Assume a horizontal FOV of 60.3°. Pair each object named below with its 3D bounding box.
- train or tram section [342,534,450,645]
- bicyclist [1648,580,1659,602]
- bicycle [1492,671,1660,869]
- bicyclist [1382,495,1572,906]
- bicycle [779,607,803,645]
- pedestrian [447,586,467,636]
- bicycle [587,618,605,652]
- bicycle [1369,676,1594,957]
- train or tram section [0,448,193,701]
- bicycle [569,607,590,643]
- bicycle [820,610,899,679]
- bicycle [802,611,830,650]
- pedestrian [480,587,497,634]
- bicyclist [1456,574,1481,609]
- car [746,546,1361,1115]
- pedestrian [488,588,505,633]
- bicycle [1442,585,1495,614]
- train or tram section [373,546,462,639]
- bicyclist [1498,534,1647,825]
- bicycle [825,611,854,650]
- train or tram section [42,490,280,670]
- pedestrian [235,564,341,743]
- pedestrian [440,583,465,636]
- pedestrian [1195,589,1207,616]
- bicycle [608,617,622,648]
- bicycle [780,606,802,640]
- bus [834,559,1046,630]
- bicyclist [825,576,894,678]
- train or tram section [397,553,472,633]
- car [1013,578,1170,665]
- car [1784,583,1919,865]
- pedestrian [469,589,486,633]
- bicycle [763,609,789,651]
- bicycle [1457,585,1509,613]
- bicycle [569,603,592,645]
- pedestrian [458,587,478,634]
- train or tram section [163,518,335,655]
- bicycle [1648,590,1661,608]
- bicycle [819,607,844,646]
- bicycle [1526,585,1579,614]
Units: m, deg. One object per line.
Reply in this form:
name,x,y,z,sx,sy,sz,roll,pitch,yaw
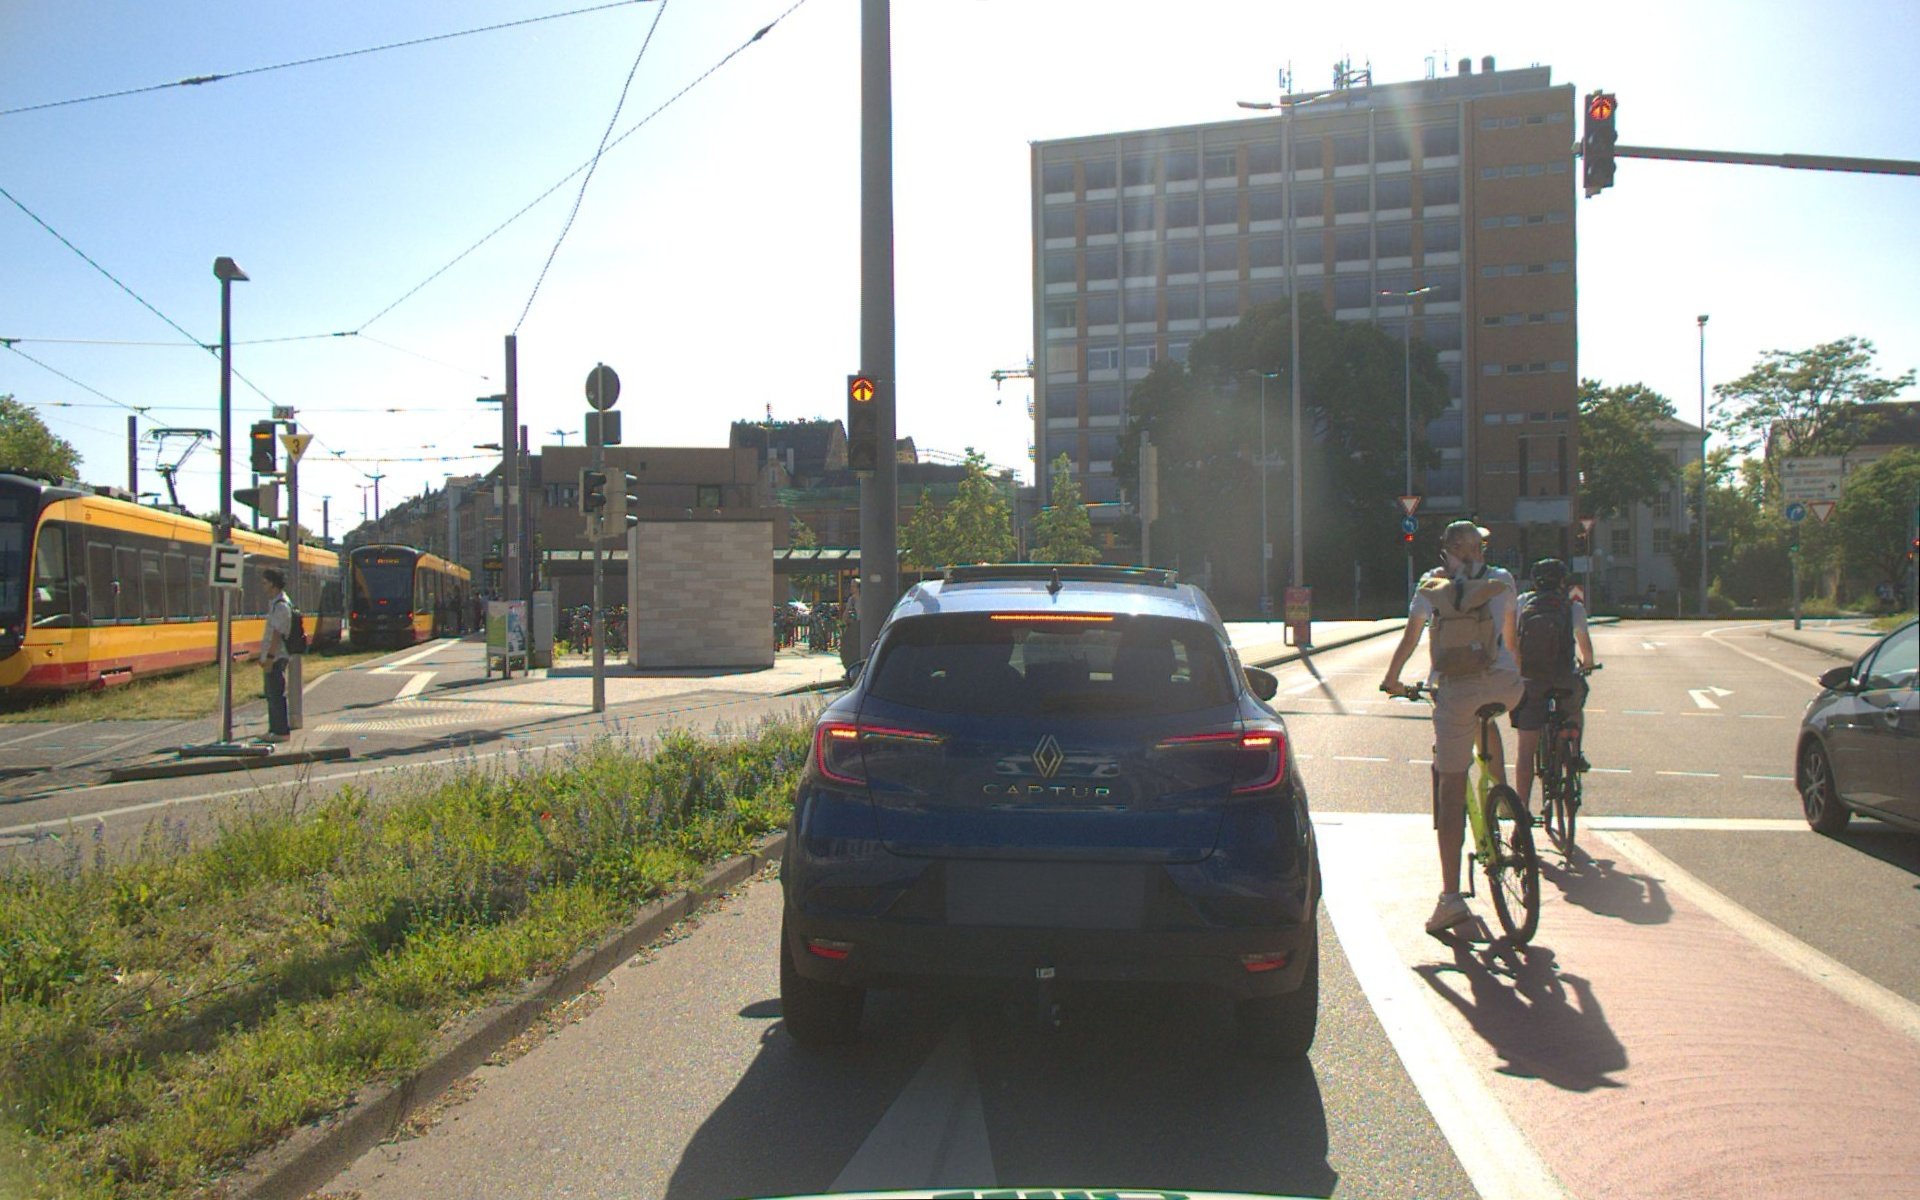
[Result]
train or tram section,-19.874,-0.322,58.826,2.823,3.569,10.502,0,0,-14
bicyclist,46.113,-0.603,109.947,0.606,1.469,0.818,-1,0,29
bicycle,3.678,0.969,10.011,0.707,0.976,1.885,1,0,13
bicyclist,2.374,0.436,7.697,0.649,1.778,1.006,0,0,6
bicycle,-4.973,0.771,48.605,0.570,1.107,2.054,1,-1,-9
pedestrian,-19.806,0.433,65.108,0.727,1.951,0.739,1,-1,-16
bicycle,-10.449,1.006,47.455,0.415,0.954,1.300,1,0,-15
bicycle,2.394,0.938,7.799,0.648,1.065,1.891,0,0,6
train or tram section,-15.580,-0.340,28.133,2.771,3.569,10.437,-1,0,-15
bicycle,-11.955,0.781,52.022,0.556,1.112,2.023,1,-1,-11
bicycle,-1.673,0.740,28.018,0.756,1.099,2.037,-1,-1,13
bicycle,-3.740,0.785,42.965,0.570,0.978,2.054,1,-1,-9
pedestrian,-19.086,0.441,66.964,0.623,1.889,0.699,1,-1,-20
bicyclist,28.252,-0.478,91.878,1.183,1.930,0.883,0,-1,24
car,0.417,0.659,6.680,1.785,1.628,3.661,1,0,5
pedestrian,-19.883,0.462,70.906,0.621,1.889,0.701,1,-1,-11
bicycle,28.245,-0.029,91.884,2.746,1.568,0.883,0,-1,25
train or tram section,-22.492,-0.279,69.076,2.823,3.569,10.502,0,0,-14
bicyclist,3.683,0.448,10.018,0.706,1.654,1.056,1,0,13
bicycle,-3.140,0.790,43.061,0.570,0.978,2.054,1,-1,-9
train or tram section,-18.150,-0.386,38.387,2.768,3.569,10.573,0,0,-14
pedestrian,-7.236,0.568,17.798,1.003,1.864,0.754,1,-1,-25
pedestrian,-18.390,0.359,59.965,0.833,1.916,0.757,1,-1,-16
pedestrian,15.244,0.182,104.614,0.551,1.699,0.474,-1,-2,36
bicycle,-10.955,1.022,52.469,0.414,0.954,1.375,1,0,-12
bicycle,-5.745,0.787,56.067,0.570,1.107,1.866,1,-1,-11
bus,-1.232,-0.206,86.796,12.212,3.455,2.867,-1,-2,40
bicyclist,-1.695,0.453,28.026,0.861,1.673,1.061,-1,-1,13
train or tram section,-25.035,-0.309,79.213,2.823,3.569,10.502,0,0,-14
car,2.484,0.357,30.260,1.763,1.417,4.093,-1,1,21
car,6.230,0.690,9.362,1.718,1.568,3.661,0,0,8
pedestrian,-20.789,0.464,71.286,0.620,1.889,0.701,1,-1,-9
bicycle,-4.734,0.771,42.574,0.570,1.076,1.812,1,-1,-9
bicycle,29.690,-0.043,93.895,2.746,1.568,0.883,0,-1,25
bicycle,-10.490,0.669,45.737,0.556,1.112,2.023,1,-1,-11
pedestrian,-19.813,0.432,66.643,0.661,1.889,0.701,1,-1,-9
train or tram section,-20.701,-0.335,48.862,2.768,3.569,11.170,0,0,-14
bicycle,46.154,-0.072,109.986,0.597,1.112,1.669,-1,0,29
bicycle,-3.788,0.779,48.695,0.570,1.107,2.054,1,-1,-9
bicycle,32.910,-0.002,91.861,2.746,1.568,0.883,0,-1,25
